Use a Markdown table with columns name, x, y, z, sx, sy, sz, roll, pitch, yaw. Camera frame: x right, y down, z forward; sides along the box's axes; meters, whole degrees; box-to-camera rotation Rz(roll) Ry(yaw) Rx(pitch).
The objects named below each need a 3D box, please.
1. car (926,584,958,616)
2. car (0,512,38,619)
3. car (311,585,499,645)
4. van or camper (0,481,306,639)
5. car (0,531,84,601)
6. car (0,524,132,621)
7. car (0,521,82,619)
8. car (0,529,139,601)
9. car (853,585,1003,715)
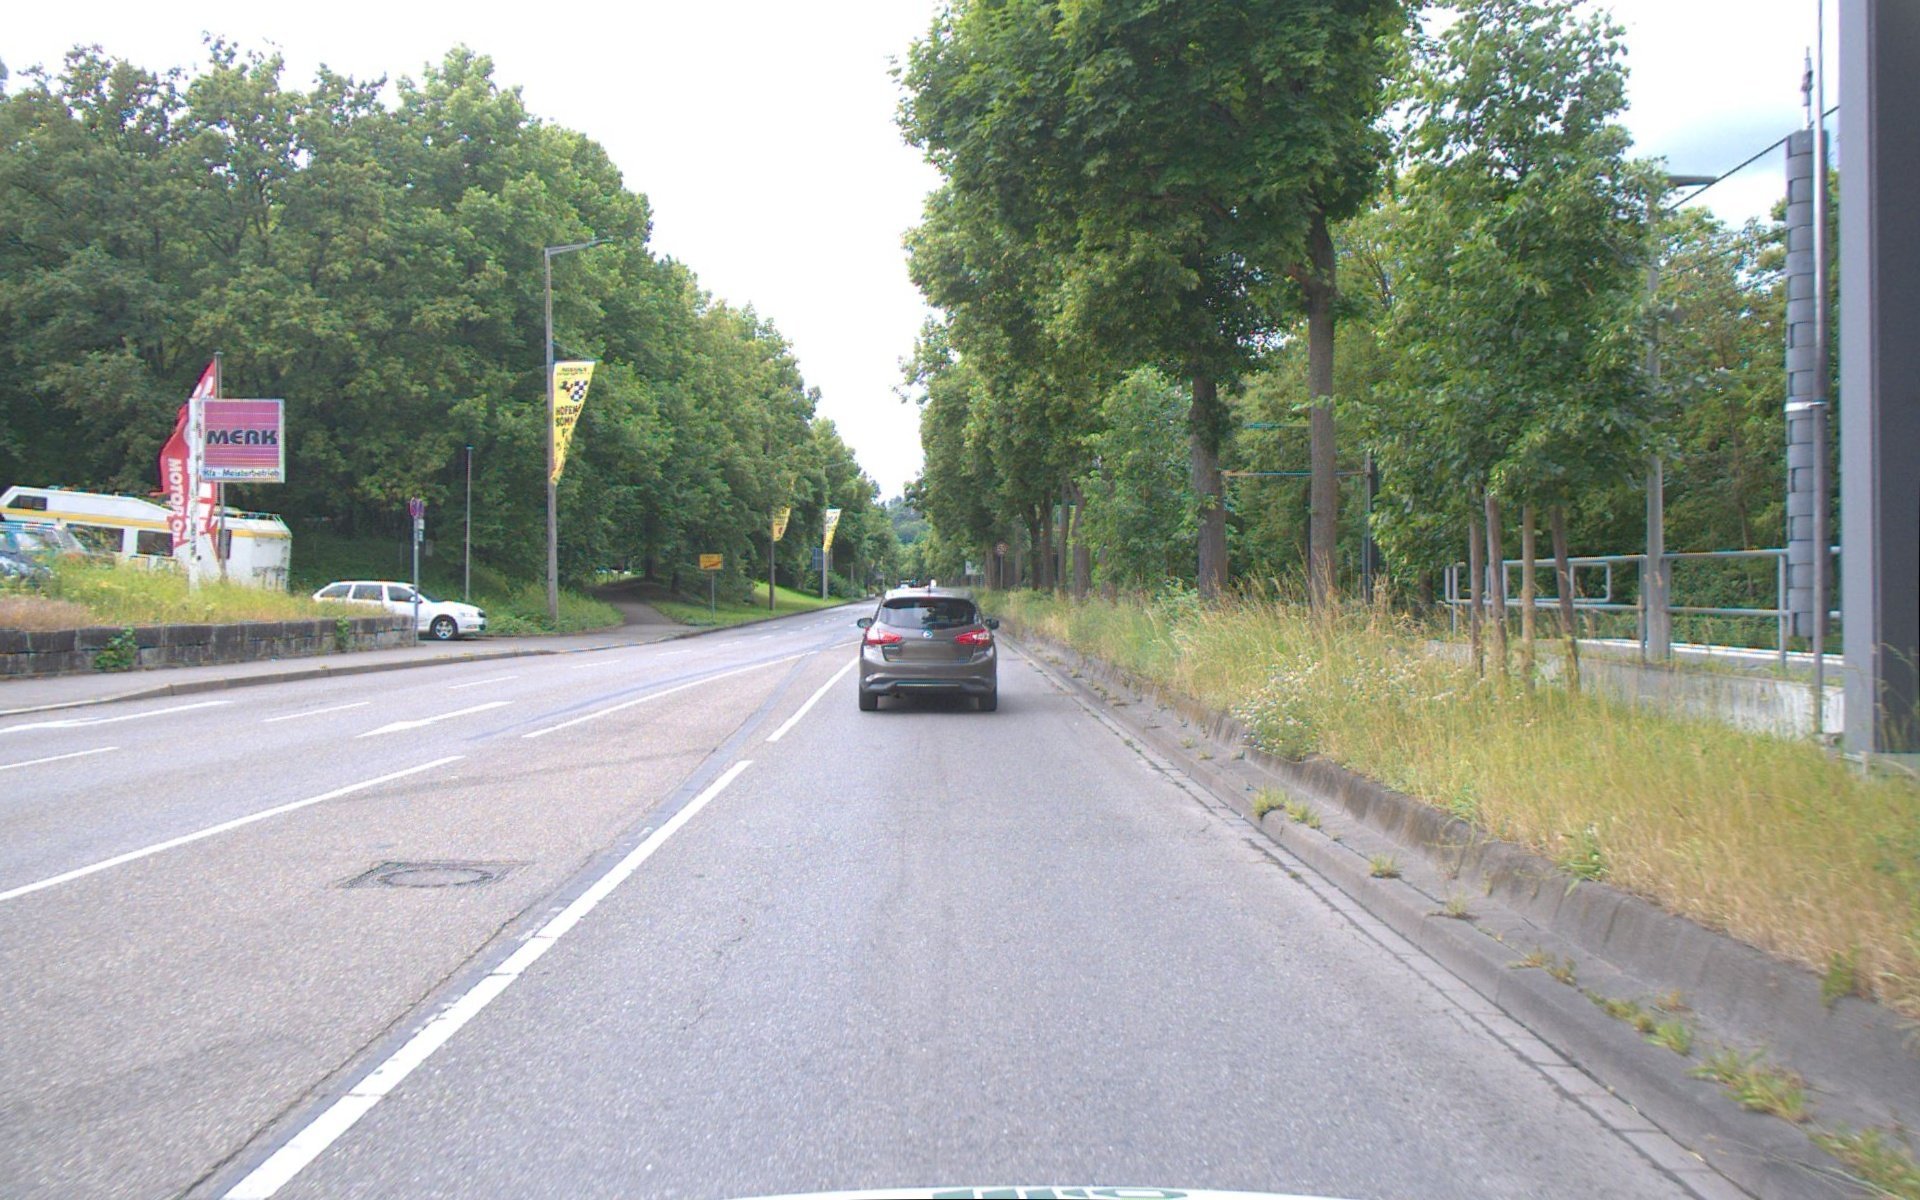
| name | x | y | z | sx | sy | sz | roll | pitch | yaw |
| --- | --- | --- | --- | --- | --- | --- | --- | --- | --- |
| car | -0.863 | 0.014 | 82.379 | 1.472 | 1.555 | 3.671 | 1 | 0 | 1 |
| car | -15.581 | -0.540 | 23.503 | 3.903 | 1.523 | 1.860 | 1 | -1 | 3 |
| car | -14.607 | 0.385 | 43.708 | 4.288 | 1.466 | 1.960 | 1 | 0 | -4 |
| van or camper | -21.352 | -1.038 | 43.373 | 6.998 | 3.429 | 2.796 | 5 | 0 | -1 |
| car | -19.341 | -0.677 | 31.893 | 3.850 | 1.290 | 1.886 | 1 | -1 | 0 |
| car | -16.055 | -0.459 | 27.322 | 3.903 | 1.518 | 1.648 | 1 | -1 | 3 |
| car | -15.834 | -0.480 | 25.368 | 3.903 | 1.435 | 1.534 | 1 | -1 | 3 |
| car | -19.649 | -0.740 | 34.594 | 3.903 | 1.394 | 2.001 | 1 | -1 | 3 |
| car | -0.361 | 0.606 | 22.026 | 1.799 | 1.555 | 3.929 | 1 | 0 | 1 |
